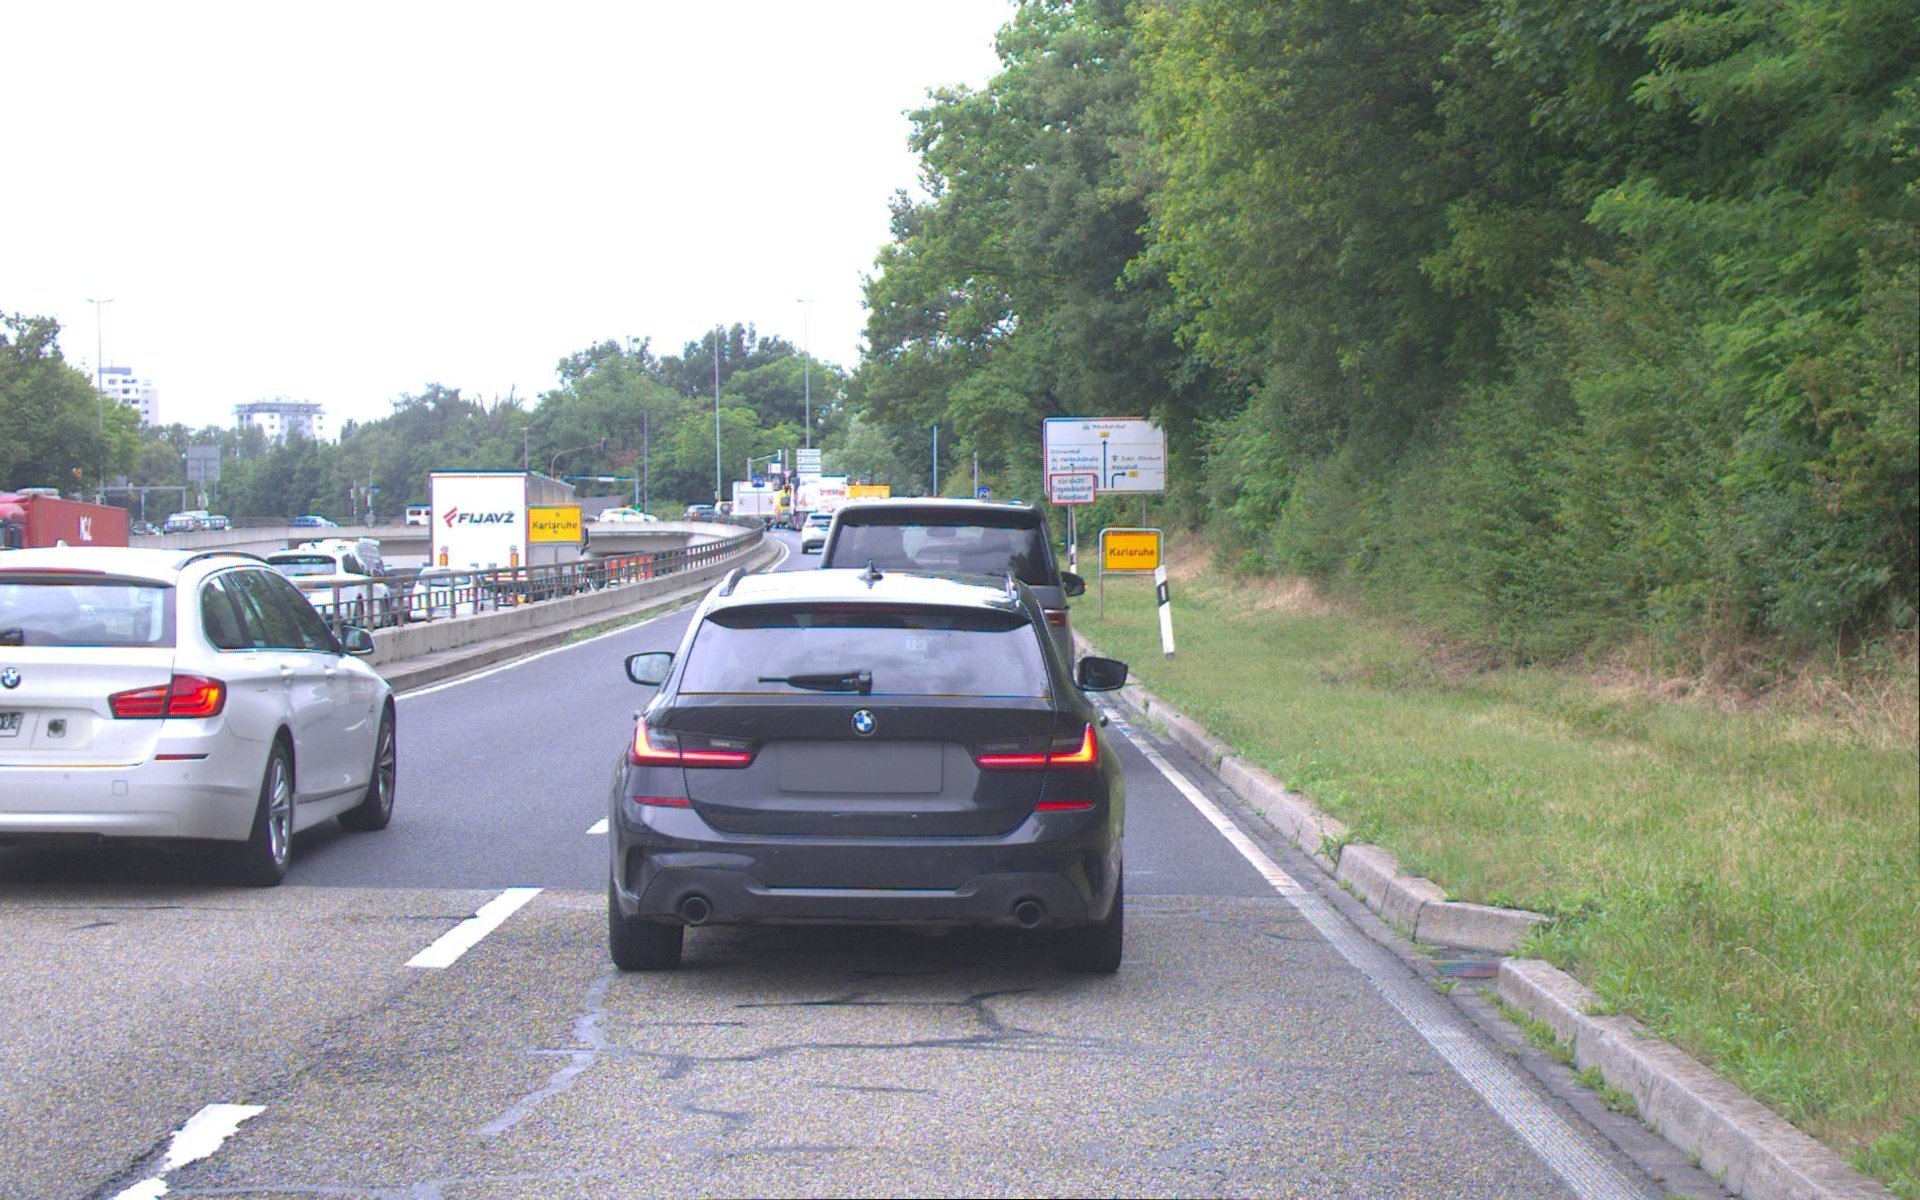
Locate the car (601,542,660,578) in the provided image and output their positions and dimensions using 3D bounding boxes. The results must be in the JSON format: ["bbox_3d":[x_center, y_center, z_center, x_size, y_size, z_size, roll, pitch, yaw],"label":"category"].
[{"bbox_3d":[-18.864,-2.290,196.571,3.202,2.021,5.077,0,1,-7],"label":"car"}]

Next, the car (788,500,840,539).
[{"bbox_3d":[-5.973,-3.287,140.947,1.931,1.590,3.877,0,1,1],"label":"car"}]

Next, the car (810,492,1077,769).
[{"bbox_3d":[-0.115,0.173,25.296,1.796,1.865,4.000,0,1,0],"label":"car"}]

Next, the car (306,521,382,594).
[{"bbox_3d":[-17.447,-1.220,97.499,1.443,2.037,3.680,0,1,1],"label":"car"}]

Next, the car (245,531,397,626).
[{"bbox_3d":[-11.719,-0.419,63.331,1.946,1.686,4.507,0,1,0],"label":"car"}]

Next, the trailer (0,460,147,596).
[{"bbox_3d":[-28.713,-2.258,108.953,2.764,4.050,13.354,0,1,0],"label":"trailer"}]

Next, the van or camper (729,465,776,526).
[{"bbox_3d":[-9.839,-4.947,163.255,1.993,2.811,4.000,0,1,-1],"label":"van or camper"}]

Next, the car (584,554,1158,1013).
[{"bbox_3d":[-0.354,0.572,13.192,1.846,1.462,4.000,1,1,-2],"label":"car"}]

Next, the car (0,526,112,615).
[{"bbox_3d":[-17.290,-0.577,64.769,1.687,1.602,4.008,1,1,-1],"label":"car"}]

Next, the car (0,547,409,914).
[{"bbox_3d":[-3.903,0.493,16.352,1.859,1.459,4.885,1,1,-1],"label":"car"}]

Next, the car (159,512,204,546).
[{"bbox_3d":[-42.103,-3.825,185.980,1.655,1.830,3.622,0,1,0],"label":"car"}]

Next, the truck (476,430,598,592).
[{"bbox_3d":[-12.609,-2.621,102.749,3.084,4.681,4.232,1,1,0],"label":"truck"}]

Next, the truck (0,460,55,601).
[{"bbox_3d":[-28.655,-2.040,101.160,2.763,4.050,4.907,0,1,0],"label":"truck"}]

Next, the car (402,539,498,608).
[{"bbox_3d":[-11.801,-0.633,79.700,1.768,1.544,3.493,0,1,-1],"label":"car"}]

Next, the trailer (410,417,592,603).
[{"bbox_3d":[-12.549,-2.413,95.450,3.132,4.709,14.559,1,1,0],"label":"trailer"}]
